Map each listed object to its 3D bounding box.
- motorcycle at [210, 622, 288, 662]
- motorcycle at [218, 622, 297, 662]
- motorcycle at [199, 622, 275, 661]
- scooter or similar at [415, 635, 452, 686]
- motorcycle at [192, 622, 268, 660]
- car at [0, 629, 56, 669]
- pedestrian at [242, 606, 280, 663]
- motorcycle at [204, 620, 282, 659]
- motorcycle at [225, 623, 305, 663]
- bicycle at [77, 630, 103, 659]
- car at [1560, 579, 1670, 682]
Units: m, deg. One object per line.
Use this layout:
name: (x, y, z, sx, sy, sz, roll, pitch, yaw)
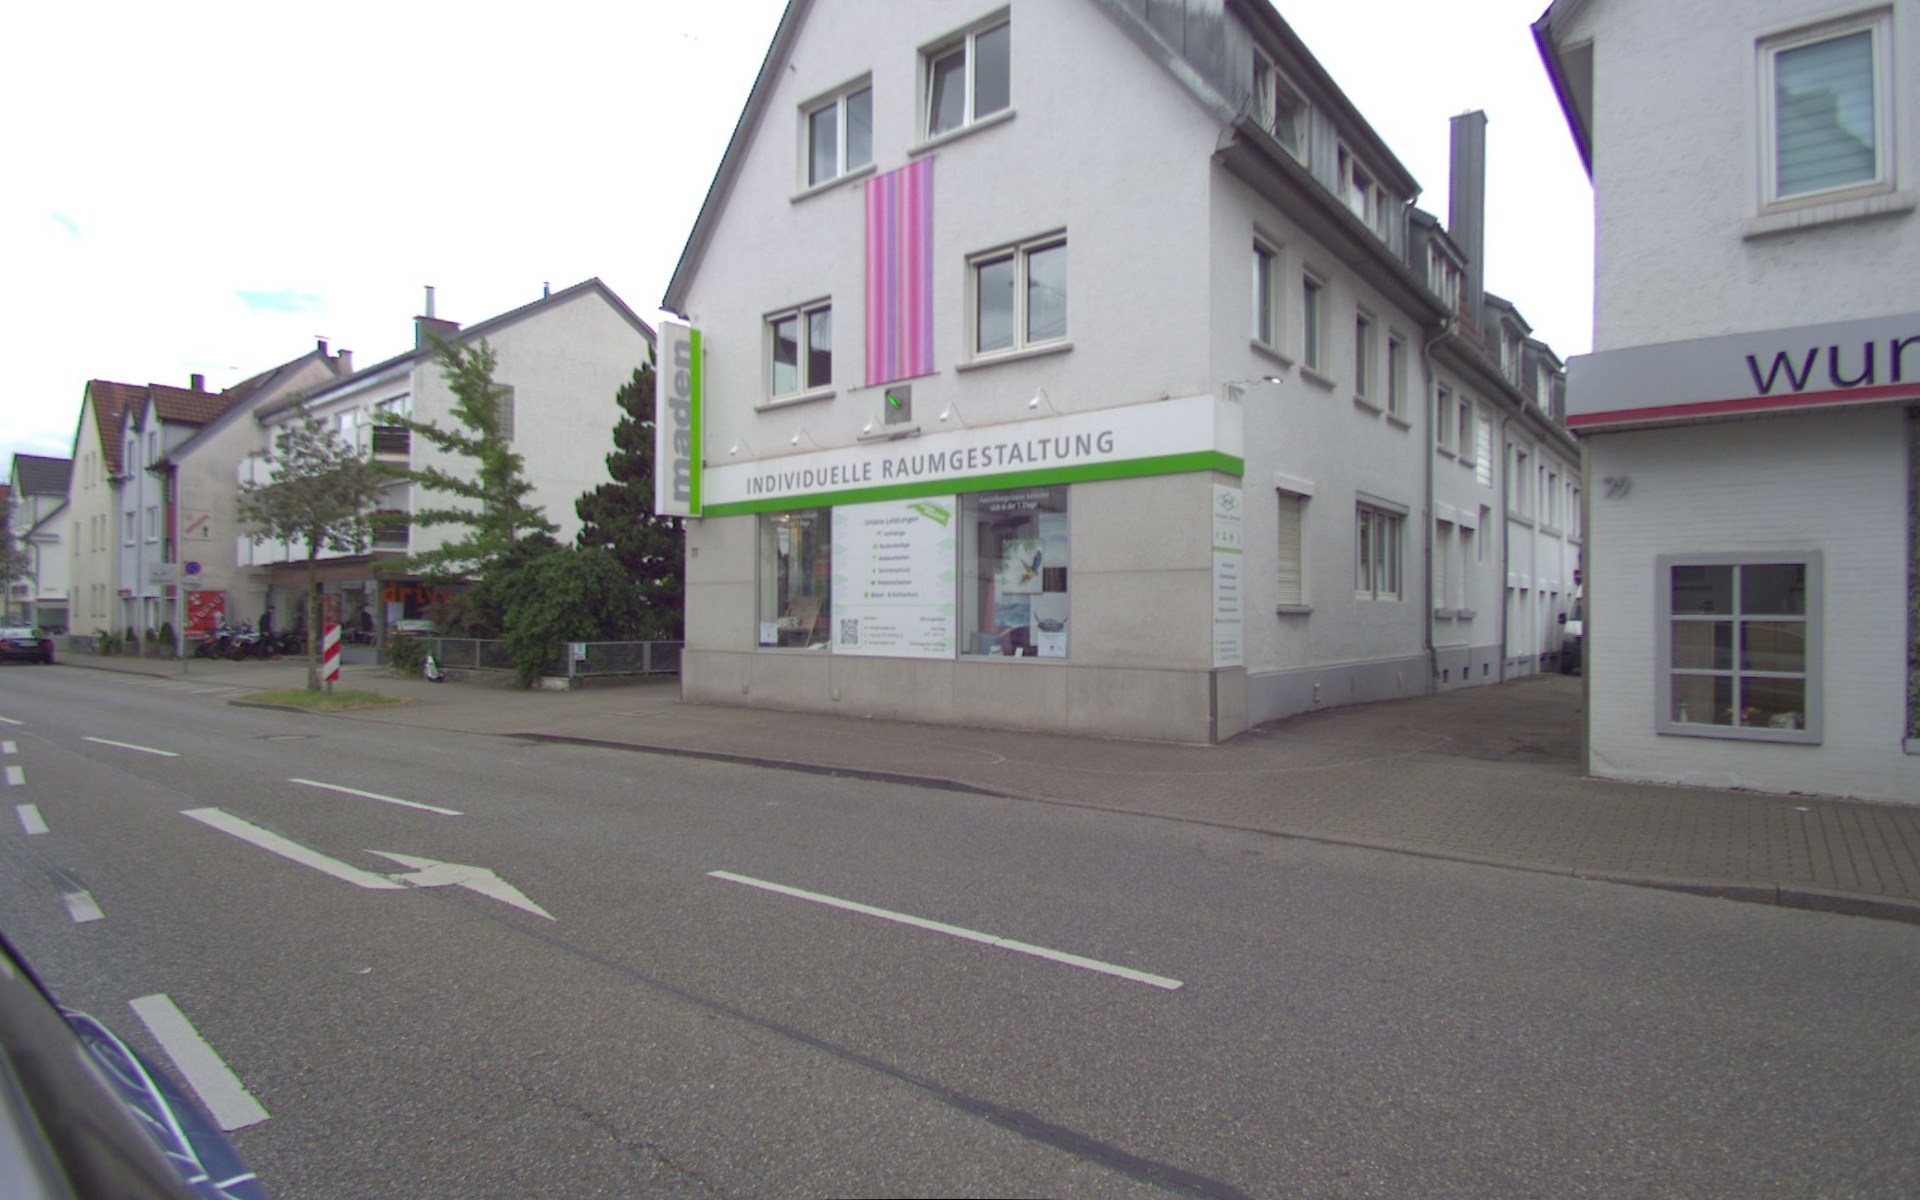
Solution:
motorcycle: (-25.729, 1.502, 36.664, 0.612, 1.275, 2.204, -1, 1, 38)
motorcycle: (-25.066, 1.495, 36.132, 0.612, 1.275, 2.204, -1, 1, 38)
motorcycle: (-26.882, 1.524, 37.665, 0.612, 1.275, 2.204, -1, 1, 38)
scooter or similar: (-12.000, 1.357, 23.042, 1.179, 1.120, 0.336, -1, -1, 41)
motorcycle: (-27.472, 1.521, 38.120, 0.612, 1.275, 2.204, -1, 1, 38)
car: (-36.256, 1.844, 38.737, 4.337, 1.428, 1.770, -1, -2, 39)
pedestrian: (-23.860, 1.173, 34.523, 1.019, 1.863, 0.744, -1, 2, 40)
motorcycle: (-26.283, 1.435, 37.150, 0.698, 1.275, 2.204, -1, 1, 38)
motorcycle: (-24.394, 1.495, 35.576, 0.612, 1.275, 2.204, -1, 1, 38)
bicycle: (-37.666, 1.910, 43.814, 2.022, 1.205, 0.509, -1, -1, 39)
car: (18.158, 0.739, 27.915, 1.957, 2.527, 5.918, 2, 1, 38)
